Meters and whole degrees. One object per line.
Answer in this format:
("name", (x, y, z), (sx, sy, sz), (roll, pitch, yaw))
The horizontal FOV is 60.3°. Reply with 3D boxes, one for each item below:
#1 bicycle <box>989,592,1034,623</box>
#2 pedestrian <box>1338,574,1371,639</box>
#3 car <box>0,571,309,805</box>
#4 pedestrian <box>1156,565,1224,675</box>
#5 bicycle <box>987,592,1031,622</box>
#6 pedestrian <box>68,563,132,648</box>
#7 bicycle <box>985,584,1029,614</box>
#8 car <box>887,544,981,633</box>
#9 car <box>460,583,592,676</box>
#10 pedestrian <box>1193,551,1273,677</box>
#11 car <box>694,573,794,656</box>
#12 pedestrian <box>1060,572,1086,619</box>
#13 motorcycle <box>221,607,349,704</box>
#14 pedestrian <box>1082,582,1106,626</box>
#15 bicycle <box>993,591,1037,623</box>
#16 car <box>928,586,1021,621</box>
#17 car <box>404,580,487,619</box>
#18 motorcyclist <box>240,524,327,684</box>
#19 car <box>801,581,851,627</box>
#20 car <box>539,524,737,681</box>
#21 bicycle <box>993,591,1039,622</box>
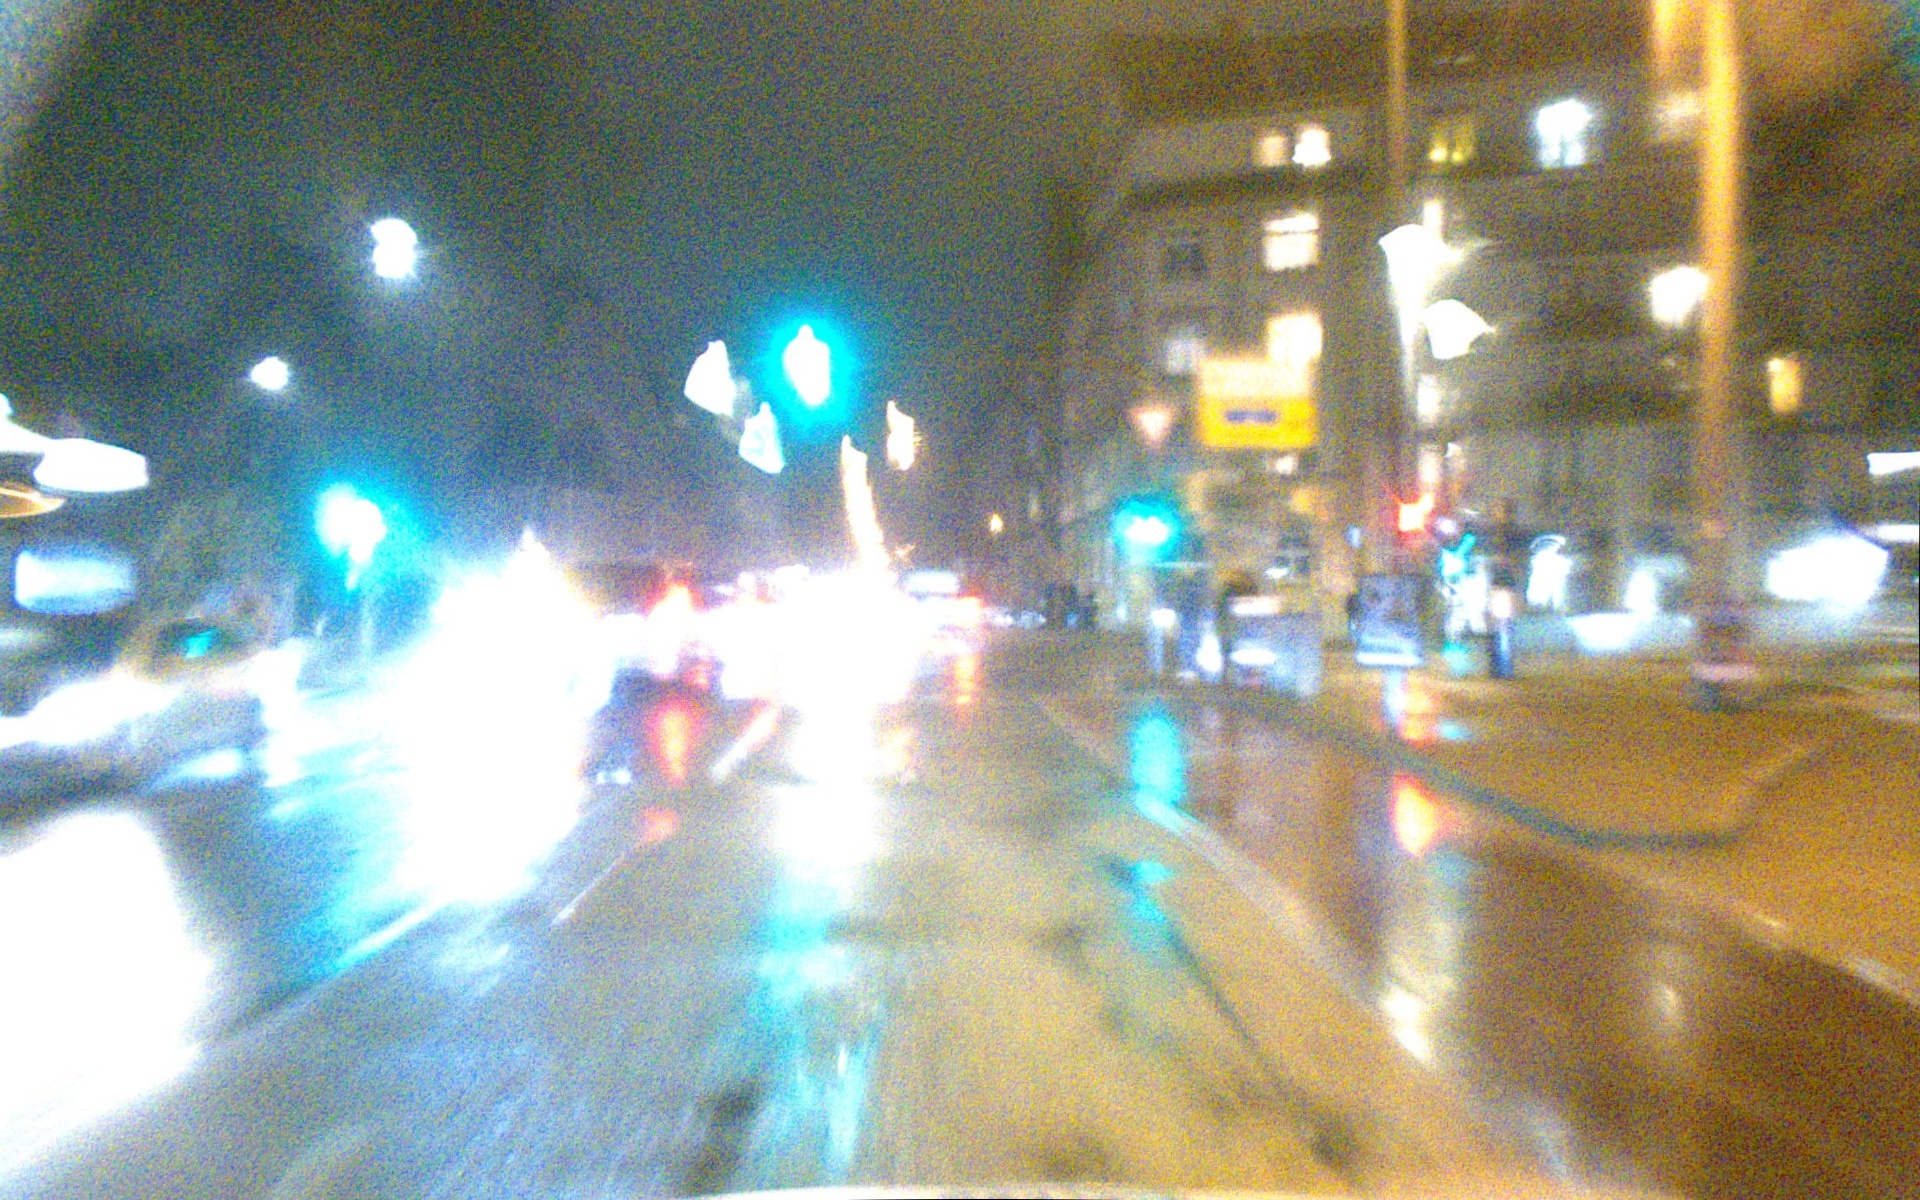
("bicycle", (2.282, 0.337, 73.500), (1.861, 1.273, 0.595), (-2, 0, -8))
("pedestrian", (12.871, 0.214, 53.938), (0.953, 2.048, 1.016), (0, 3, 18))
("car", (-6.911, 0.543, 13.283), (1.816, 1.525, 4.765), (0, 1, -5))
("pedestrian", (3.907, 0.330, 28.201), (1.084, 1.857, 0.851), (0, 1, 4))
("bicycle", (2.211, 0.320, 74.170), (1.861, 1.273, 0.595), (-2, 0, -8))
("pedestrian", (-18.203, 0.110, 35.022), (0.755, 1.766, 0.966), (0, 0, 35))
("bicycle", (2.122, -0.061, 74.777), (1.861, 1.273, 0.595), (-2, 0, -8))
("car", (-0.688, -0.278, 40.000), (2.125, 2.006, 4.299), (-1, 0, -3))
("car", (-8.160, 0.507, 31.422), (1.613, 1.538, 4.106), (-2, 1, -4))
("pedestrian", (4.085, 0.197, 24.819), (1.084, 1.857, 0.851), (0, 1, 1))
("car", (-4.372, 0.266, 34.050), (1.782, 1.569, 4.722), (0, 0, -4))
("pedestrian", (4.606, -0.181, 67.579), (0.938, 1.914, 0.999), (0, 0, -3))
("motorcycle", (-8.844, 0.698, 21.765), (0.686, 1.158, 2.176), (0, 1, 3))
("pedestrian", (5.113, 0.150, 63.188), (0.765, 1.646, 0.999), (0, 0, -3))
("bicycle", (2.483, 0.307, 74.767), (1.861, 1.383, 0.595), (-2, 0, -8))
("car", (0.682, 0.148, 76.822), (4.149, 1.483, 1.829), (-2, 1, -41))
("car", (-25.344, -0.051, 81.649), (1.663, 1.730, 4.194), (0, 2, 21))
("motorcyclist", (-8.848, 0.045, 21.667), (0.678, 2.049, 0.983), (0, 1, 3))
("car", (-4.739, 0.128, 58.296), (1.673, 1.569, 3.984), (0, 0, -5))
("car", (-4.590, -0.031, 24.407), (1.993, 1.987, 5.198), (-2, 1, -2))
("bicycle", (2.421, 0.286, 71.955), (1.861, 1.273, 0.709), (-2, 0, -8))
